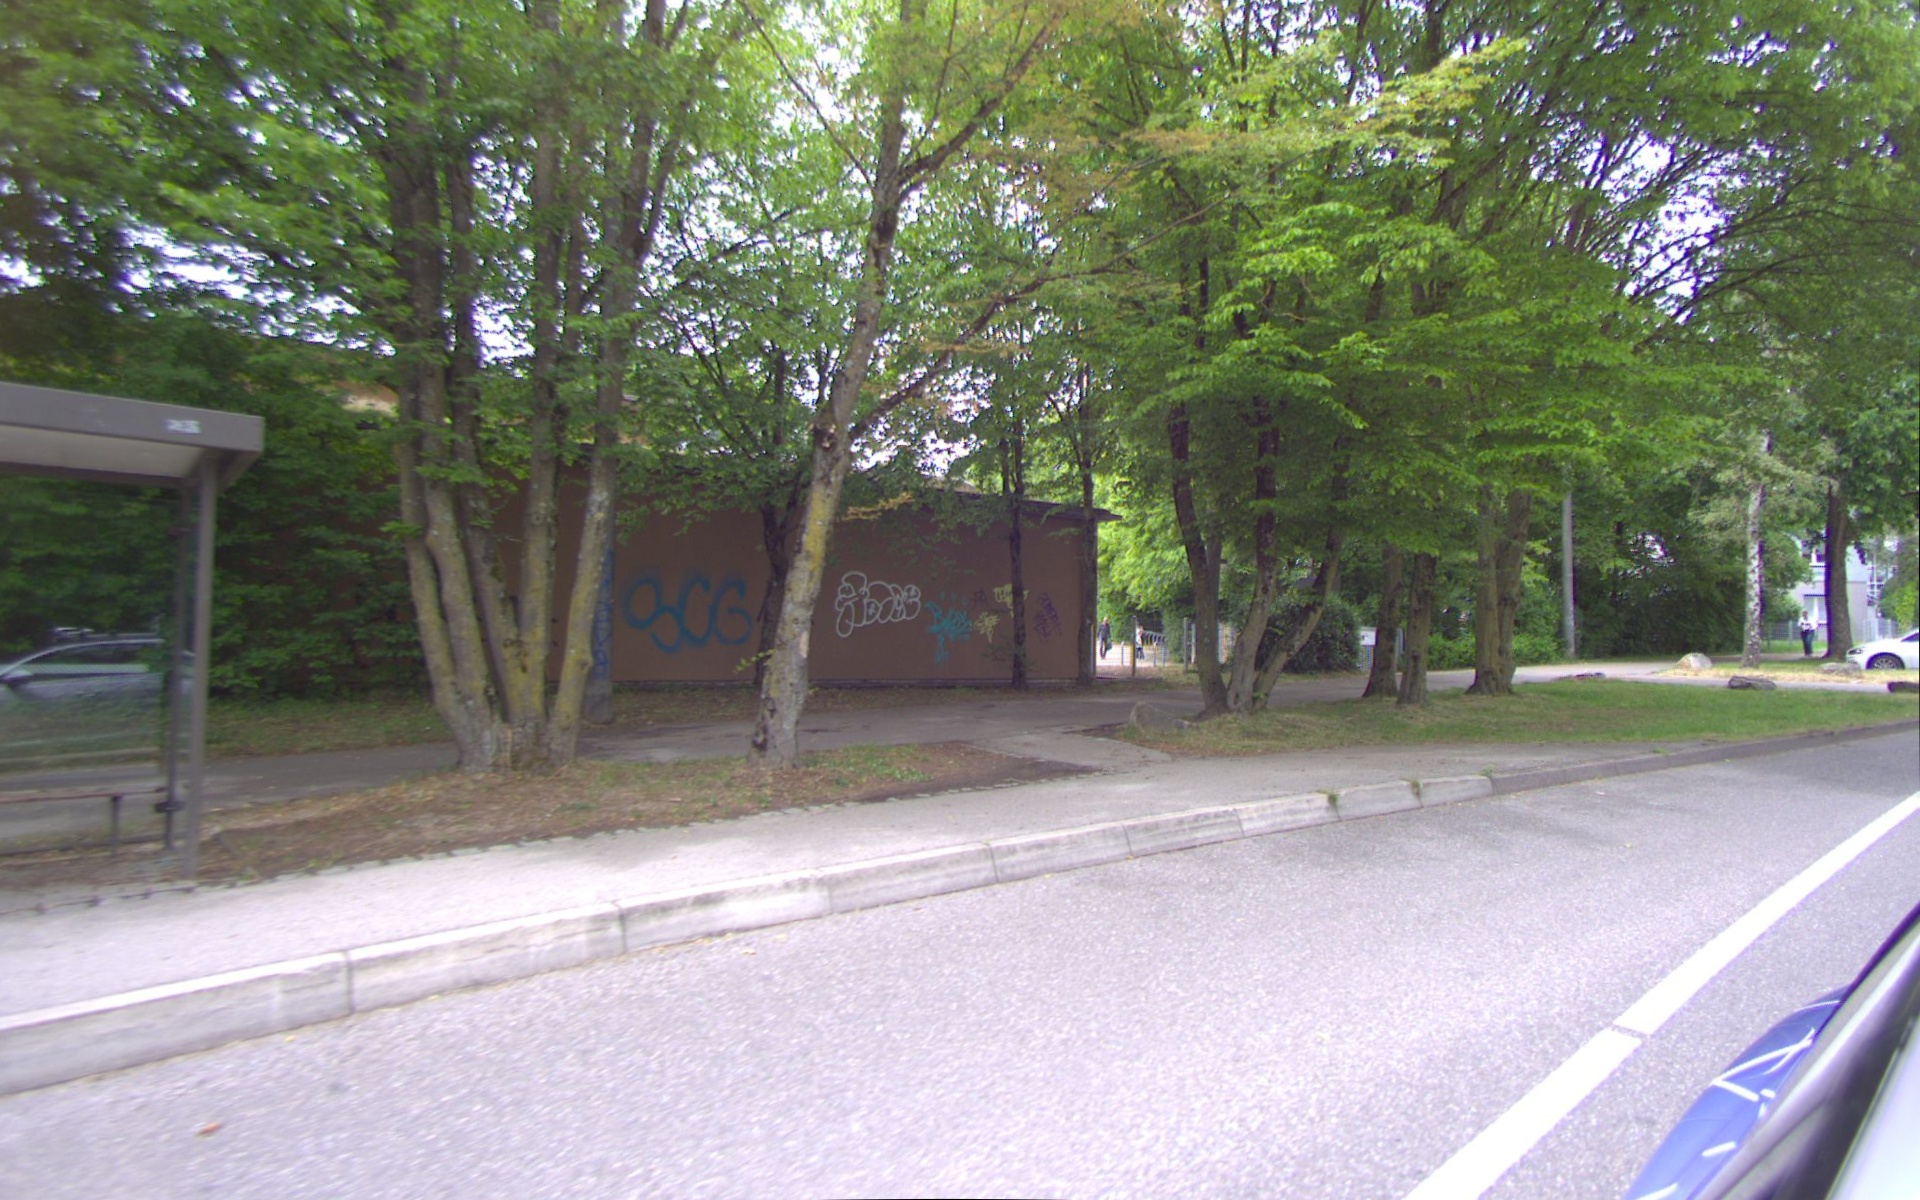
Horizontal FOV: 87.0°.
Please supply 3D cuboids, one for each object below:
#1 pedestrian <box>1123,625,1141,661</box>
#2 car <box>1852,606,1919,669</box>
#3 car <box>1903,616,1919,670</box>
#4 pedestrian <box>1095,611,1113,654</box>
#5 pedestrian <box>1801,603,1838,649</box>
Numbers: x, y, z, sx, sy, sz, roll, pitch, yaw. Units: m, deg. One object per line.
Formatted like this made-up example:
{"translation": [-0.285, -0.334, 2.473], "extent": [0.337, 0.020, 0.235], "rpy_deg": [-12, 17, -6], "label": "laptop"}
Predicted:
{"translation": [5.162, 1.284, 30.405], "extent": [0.392, 1.042, 0.401], "rpy_deg": [0, -1, -15], "label": "pedestrian"}
{"translation": [25.886, 0.936, 25.867], "extent": [1.875, 1.606, 4.469], "rpy_deg": [0, -2, -44], "label": "car"}
{"translation": [28.238, 1.121, 27.152], "extent": [4.125, 1.483, 1.773], "rpy_deg": [-3, -2, 39], "label": "car"}
{"translation": [6.262, 1.392, 43.958], "extent": [0.711, 1.848, 0.864], "rpy_deg": [0, -1, 4], "label": "pedestrian"}
{"translation": [31.362, 0.942, 36.934], "extent": [0.762, 1.665, 0.695], "rpy_deg": [0, -1, -13], "label": "pedestrian"}
